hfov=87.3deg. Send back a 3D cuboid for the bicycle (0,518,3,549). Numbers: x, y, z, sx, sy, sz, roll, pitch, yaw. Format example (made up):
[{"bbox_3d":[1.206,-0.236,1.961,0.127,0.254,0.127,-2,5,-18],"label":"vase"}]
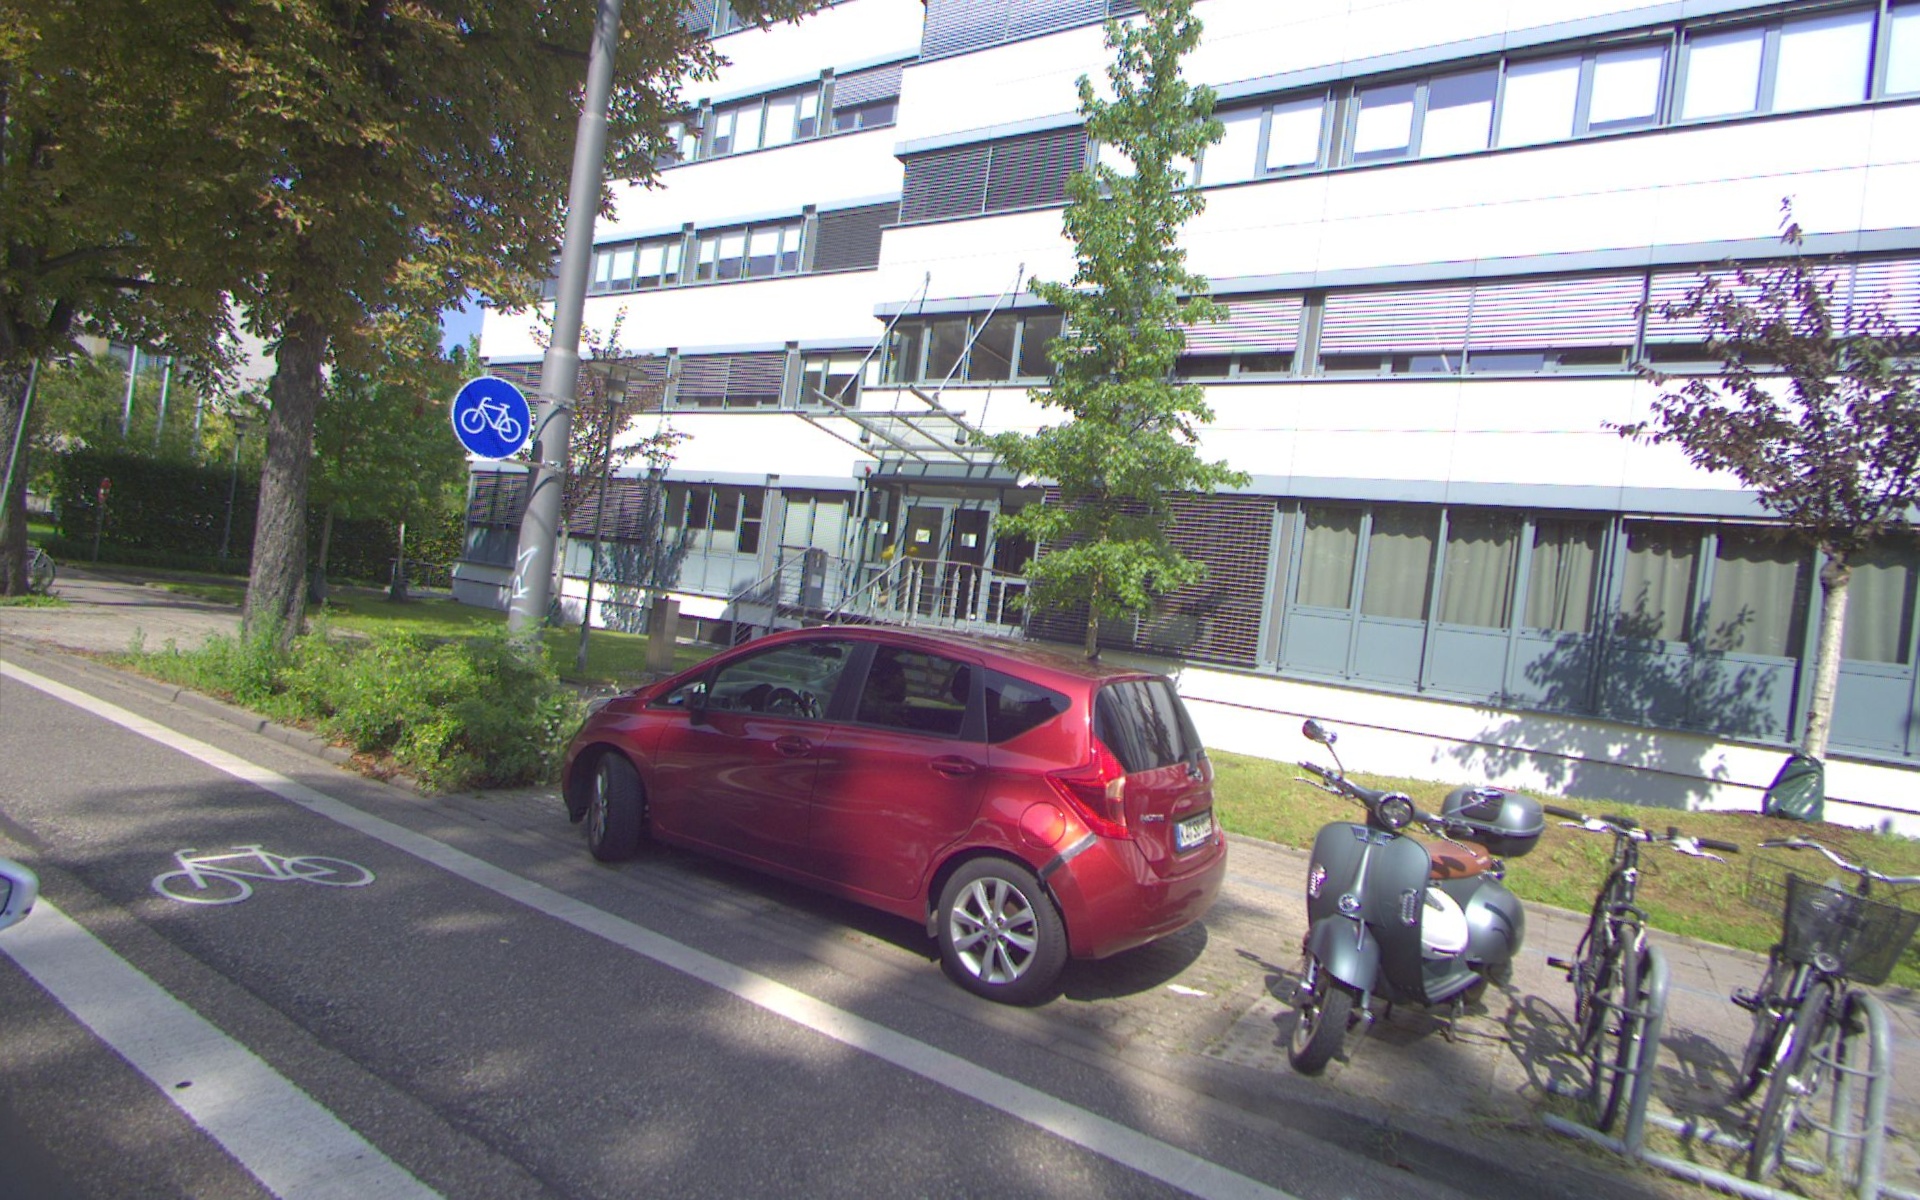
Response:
[{"bbox_3d":[-17.392,-0.985,16.897,0.531,1.062,1.774,7,0,31],"label":"bicycle"}]

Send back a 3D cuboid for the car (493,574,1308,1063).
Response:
[{"bbox_3d":[-0.490,0.862,5.632,4.204,1.479,1.758,7,-1,33],"label":"car"}]

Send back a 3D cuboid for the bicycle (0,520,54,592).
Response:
[{"bbox_3d":[-15.341,-0.749,15.597,0.531,1.062,1.774,7,0,31],"label":"bicycle"}]

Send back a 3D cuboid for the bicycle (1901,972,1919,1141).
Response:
[{"bbox_3d":[3.704,1.544,3.230,0.531,1.084,1.774,7,0,31],"label":"bicycle"}]

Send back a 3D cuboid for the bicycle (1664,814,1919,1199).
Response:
[{"bbox_3d":[3.062,1.473,3.703,0.531,1.084,1.774,7,0,31],"label":"bicycle"}]

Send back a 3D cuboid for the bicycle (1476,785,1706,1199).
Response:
[{"bbox_3d":[2.522,1.412,4.083,0.531,1.084,1.774,7,0,31],"label":"bicycle"}]

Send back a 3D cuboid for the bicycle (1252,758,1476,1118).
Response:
[{"bbox_3d":[1.852,1.333,4.442,0.531,1.084,1.774,7,0,31],"label":"bicycle"}]

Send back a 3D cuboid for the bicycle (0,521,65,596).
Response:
[{"bbox_3d":[-14.806,-0.690,15.200,0.531,1.062,1.774,7,0,31],"label":"bicycle"}]
